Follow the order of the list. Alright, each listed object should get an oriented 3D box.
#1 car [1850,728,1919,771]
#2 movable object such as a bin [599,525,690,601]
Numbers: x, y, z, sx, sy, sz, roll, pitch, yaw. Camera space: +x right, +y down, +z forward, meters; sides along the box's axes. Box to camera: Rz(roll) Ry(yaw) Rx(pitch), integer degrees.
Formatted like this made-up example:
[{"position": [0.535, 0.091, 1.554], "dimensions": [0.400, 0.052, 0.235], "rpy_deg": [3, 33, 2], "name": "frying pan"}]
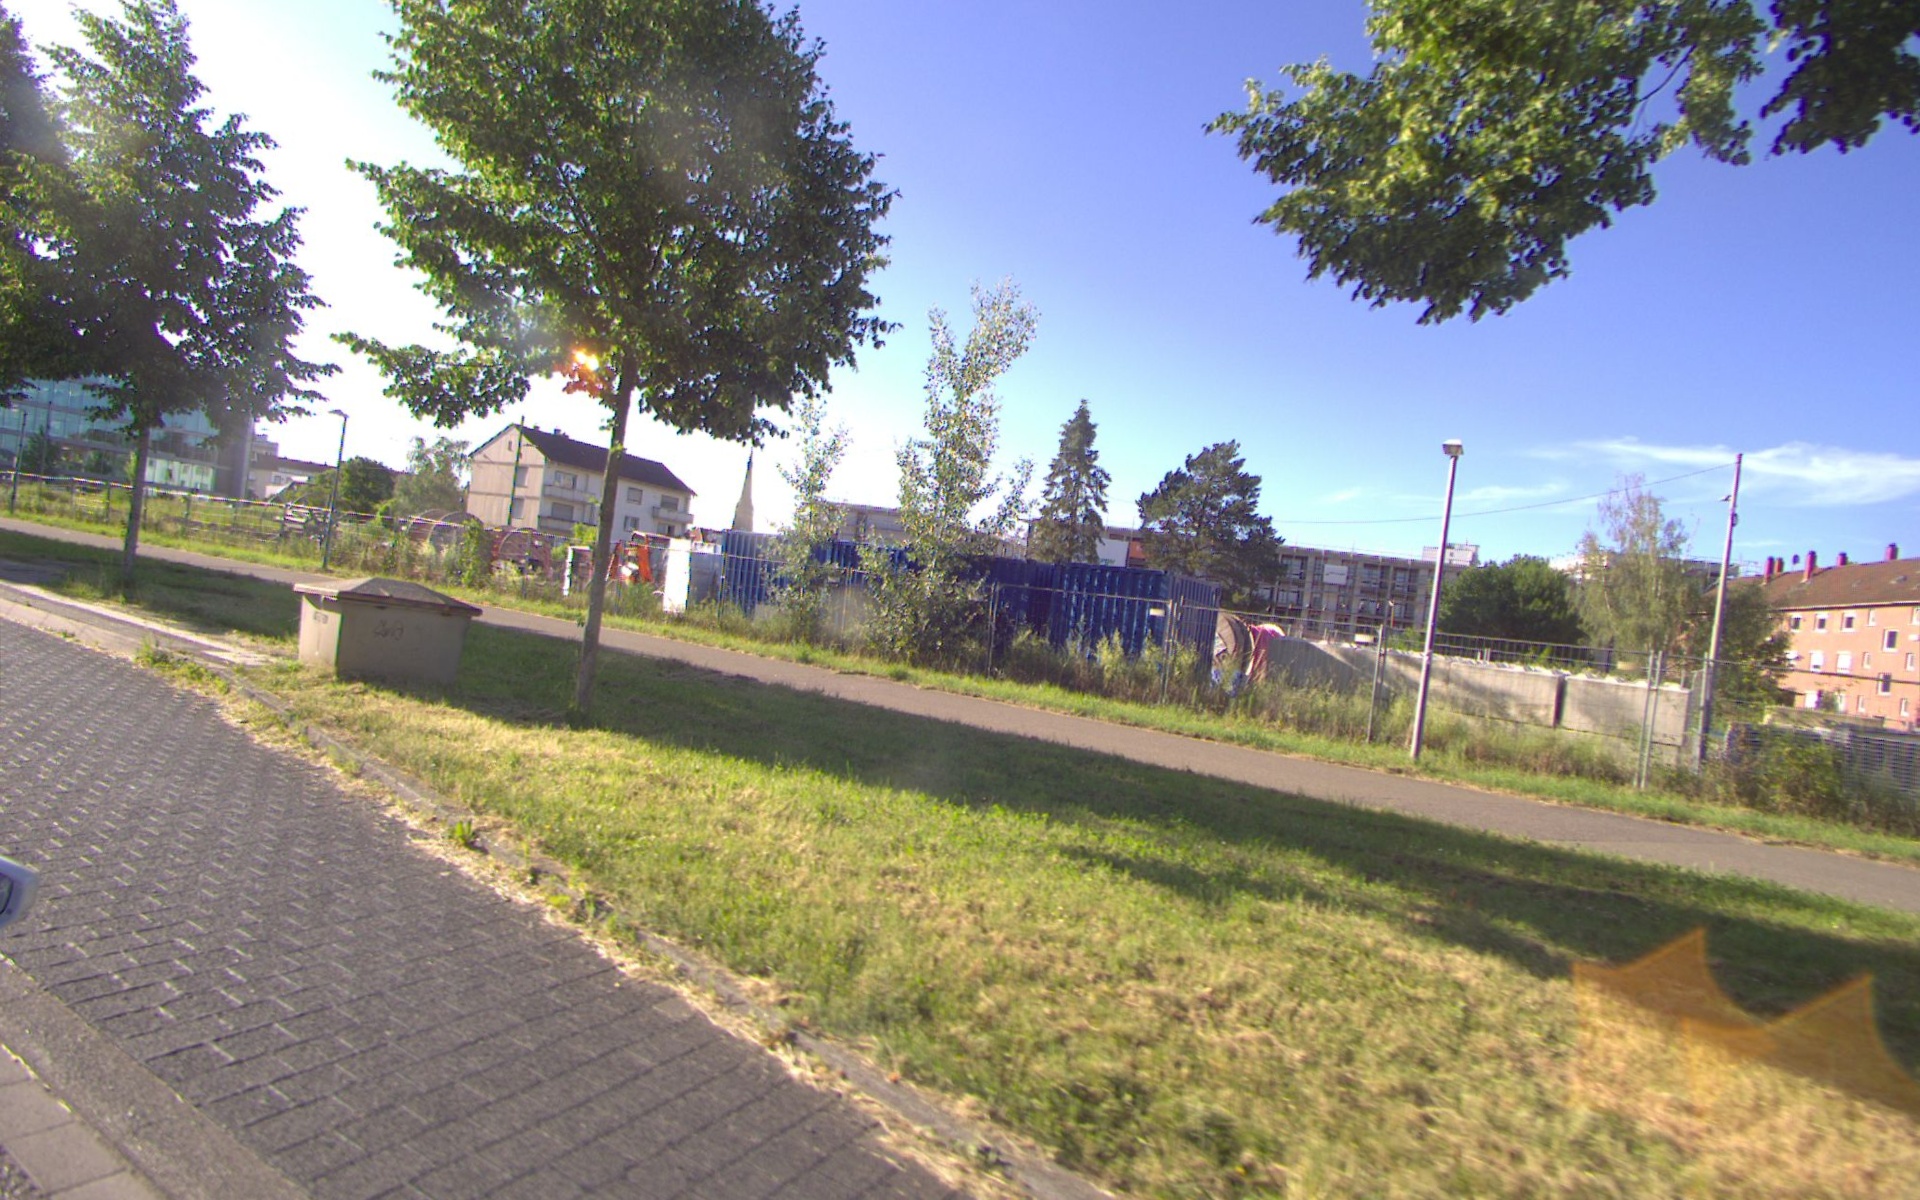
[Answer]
[{"position": [46.549, 7.478, 49.440], "dimensions": [3.733, 1.652, 1.897], "rpy_deg": [7, 0, 31], "name": "car"}, {"position": [-9.667, -1.138, 30.877], "dimensions": [1.760, 2.037, 1.797], "rpy_deg": [5, -1, 32], "name": "movable object such as a bin"}]
